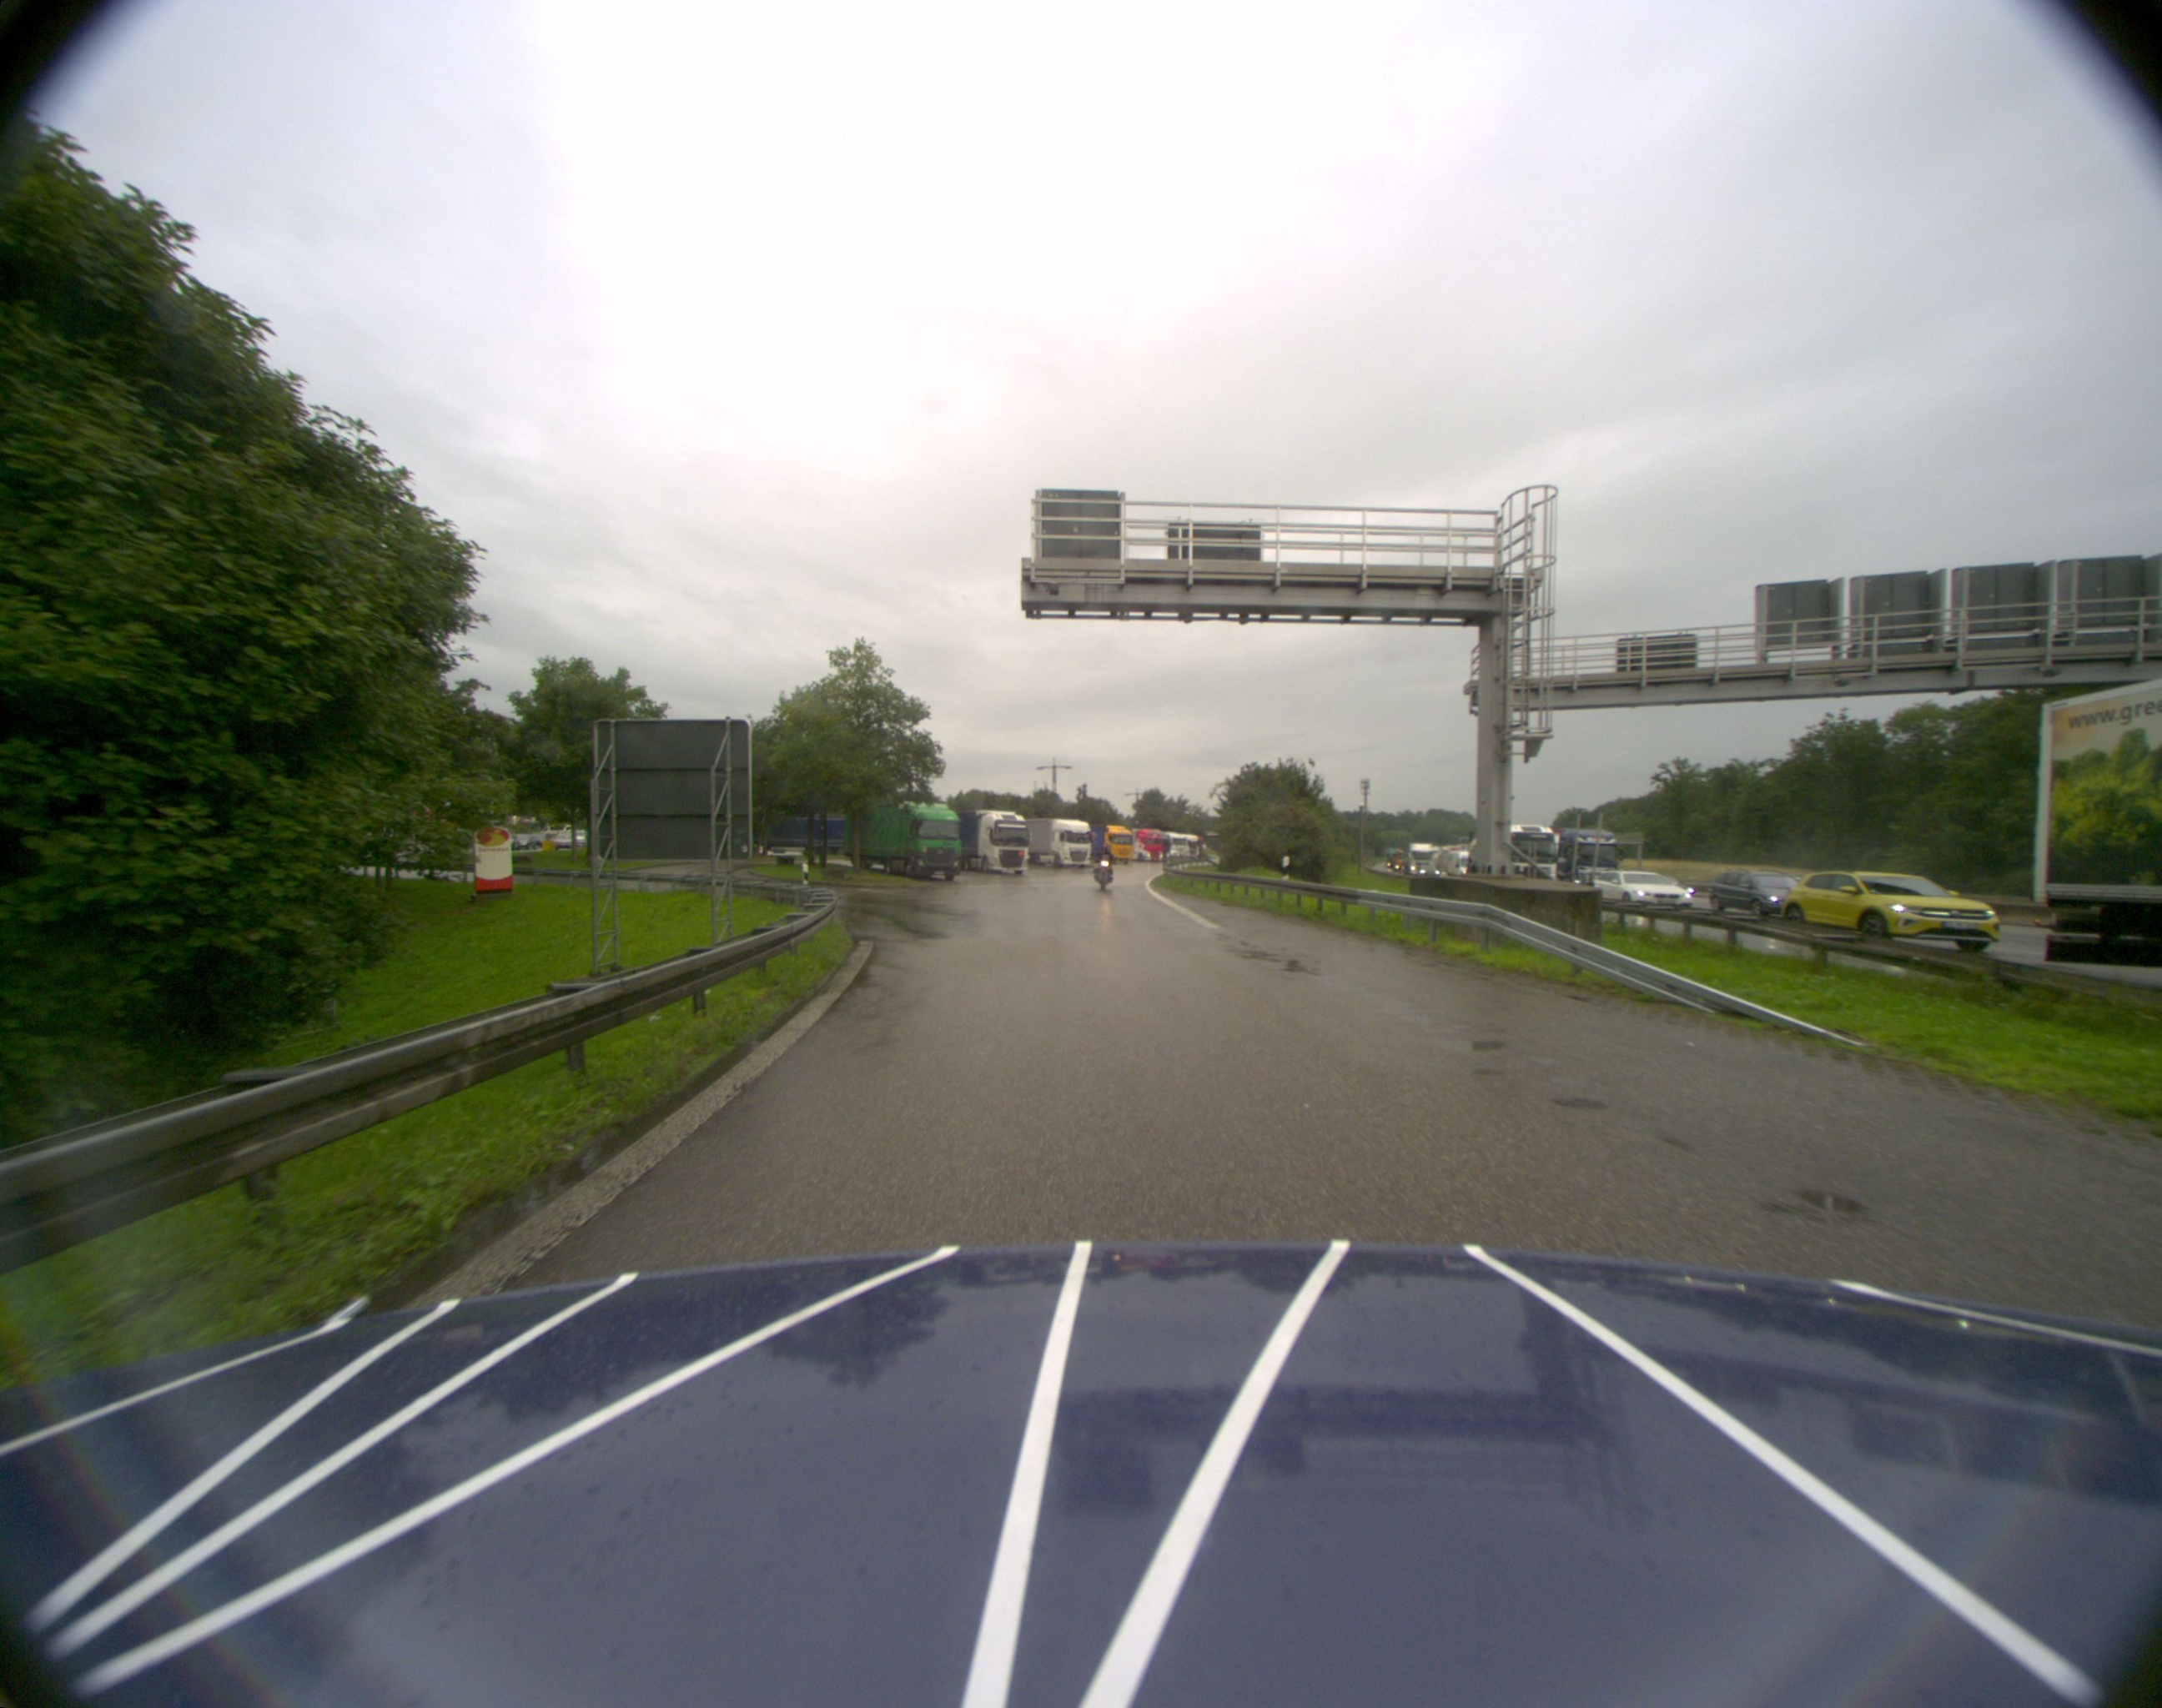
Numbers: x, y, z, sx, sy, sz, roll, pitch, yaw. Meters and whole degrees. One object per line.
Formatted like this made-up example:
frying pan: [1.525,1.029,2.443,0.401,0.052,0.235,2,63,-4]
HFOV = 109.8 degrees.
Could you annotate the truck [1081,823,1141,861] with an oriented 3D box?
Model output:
truck: [3.148,-1.383,82.939,2.845,3.897,8.110,1,1,-27]

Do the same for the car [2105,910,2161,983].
car: [24.614,2.113,15.539,1.996,1.521,4.545,1,1,16]

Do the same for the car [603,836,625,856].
car: [-47.021,-0.802,76.477,1.787,1.871,3.990,-3,1,-33]

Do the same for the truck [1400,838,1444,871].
truck: [41.847,0.000,93.661,3.532,3.825,9.445,-2,1,16]

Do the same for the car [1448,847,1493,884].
car: [30.786,0.824,60.281,2.365,2.628,6.906,-2,1,20]

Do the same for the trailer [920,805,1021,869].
trailer: [-8.563,-1.297,56.364,2.831,4.148,13.959,0,2,-28]

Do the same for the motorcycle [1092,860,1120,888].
motorcycle: [0.967,0.777,30.076,0.878,1.016,2.352,2,0,-2]

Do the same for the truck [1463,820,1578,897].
truck: [26.711,0.130,47.009,3.351,4.047,12.587,-2,1,17]

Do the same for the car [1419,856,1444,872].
car: [37.308,1.040,80.997,1.816,1.674,4.005,0,0,16]

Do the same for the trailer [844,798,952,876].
trailer: [-11.690,-1.129,46.925,2.831,4.126,13.931,0,2,-29]

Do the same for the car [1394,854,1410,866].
car: [49.128,0.915,116.319,1.816,1.747,4.692,0,0,18]

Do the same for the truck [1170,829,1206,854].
truck: [18.652,-2.173,132.259,3.251,4.362,5.798,0,2,-31]

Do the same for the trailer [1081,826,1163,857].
trailer: [5.158,-1.795,101.500,3.252,3.897,14.791,1,2,-31]

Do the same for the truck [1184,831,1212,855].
truck: [21.136,-2.001,137.290,2.611,4.362,4.617,-1,2,-31]

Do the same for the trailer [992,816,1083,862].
trailer: [-4.442,-1.449,71.138,2.849,3.897,13.919,1,1,-28]

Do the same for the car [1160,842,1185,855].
car: [14.245,-0.885,118.511,1.851,1.848,3.990,0,1,-28]

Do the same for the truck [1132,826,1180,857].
truck: [9.821,-1.679,100.497,2.904,3.897,6.538,1,2,-31]

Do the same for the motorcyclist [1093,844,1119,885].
motorcyclist: [0.981,0.386,30.028,0.878,1.559,1.373,2,1,-2]

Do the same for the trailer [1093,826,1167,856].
trailer: [6.551,-1.928,106.012,2.881,3.897,13.899,1,2,-31]

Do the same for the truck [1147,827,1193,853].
truck: [14.540,-2.279,124.235,3.252,4.068,7.917,1,2,-31]

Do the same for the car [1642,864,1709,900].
car: [33.248,1.542,42.594,1.621,1.770,4.004,-2,1,17]

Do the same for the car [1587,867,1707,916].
car: [20.685,1.320,28.042,1.930,1.513,4.768,1,0,15]

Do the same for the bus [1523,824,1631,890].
bus: [31.407,0.084,48.689,2.898,3.746,10.441,-2,1,17]

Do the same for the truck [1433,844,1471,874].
truck: [48.986,0.569,100.533,3.037,3.655,9.446,-2,1,17]

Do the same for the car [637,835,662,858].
car: [-47.339,-0.837,83.313,2.004,2.498,4.726,0,1,-35]

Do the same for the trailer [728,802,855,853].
trailer: [-27.261,-2.553,71.820,10.754,4.526,3.431,-2,1,-28]

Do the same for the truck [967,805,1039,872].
truck: [-5.206,-1.042,49.954,2.831,4.122,5.289,0,2,-28]

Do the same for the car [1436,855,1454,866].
car: [54.759,0.944,114.294,1.818,1.652,3.992,1,1,16]

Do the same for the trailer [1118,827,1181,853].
trailer: [11.486,-2.446,129.422,3.252,4.068,13.497,1,2,-31]

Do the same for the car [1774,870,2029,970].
car: [17.757,1.312,16.793,1.796,1.783,4.244,1,1,15]

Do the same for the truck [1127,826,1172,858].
truck: [8.578,-1.555,95.703,3.252,3.897,5.008,1,2,-31]

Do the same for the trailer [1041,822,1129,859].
trailer: [0.095,-1.687,88.863,2.873,3.897,16.592,1,1,-27]

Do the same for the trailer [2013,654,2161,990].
trailer: [13.491,-0.348,4.340,2.922,4.181,13.652,2,1,16]

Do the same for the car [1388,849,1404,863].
car: [51.645,0.282,124.674,1.996,2.149,4.449,1,0,18]

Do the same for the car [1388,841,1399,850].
car: [63.723,-1.670,154.956,1.816,1.747,4.692,0,0,17]

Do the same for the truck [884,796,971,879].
truck: [-8.353,-0.902,40.865,2.831,4.126,5.982,0,2,-29]

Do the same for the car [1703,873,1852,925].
car: [24.670,1.518,27.199,1.930,1.513,4.768,1,0,15]

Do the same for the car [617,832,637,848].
car: [-53.646,-1.640,89.790,1.831,1.666,3.990,-3,1,-33]

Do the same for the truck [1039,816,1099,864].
truck: [-1.104,-1.177,64.927,2.835,3.890,5.397,0,1,-29]

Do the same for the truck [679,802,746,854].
truck: [-33.275,-2.329,68.571,5.085,4.526,3.431,-3,1,-28]
